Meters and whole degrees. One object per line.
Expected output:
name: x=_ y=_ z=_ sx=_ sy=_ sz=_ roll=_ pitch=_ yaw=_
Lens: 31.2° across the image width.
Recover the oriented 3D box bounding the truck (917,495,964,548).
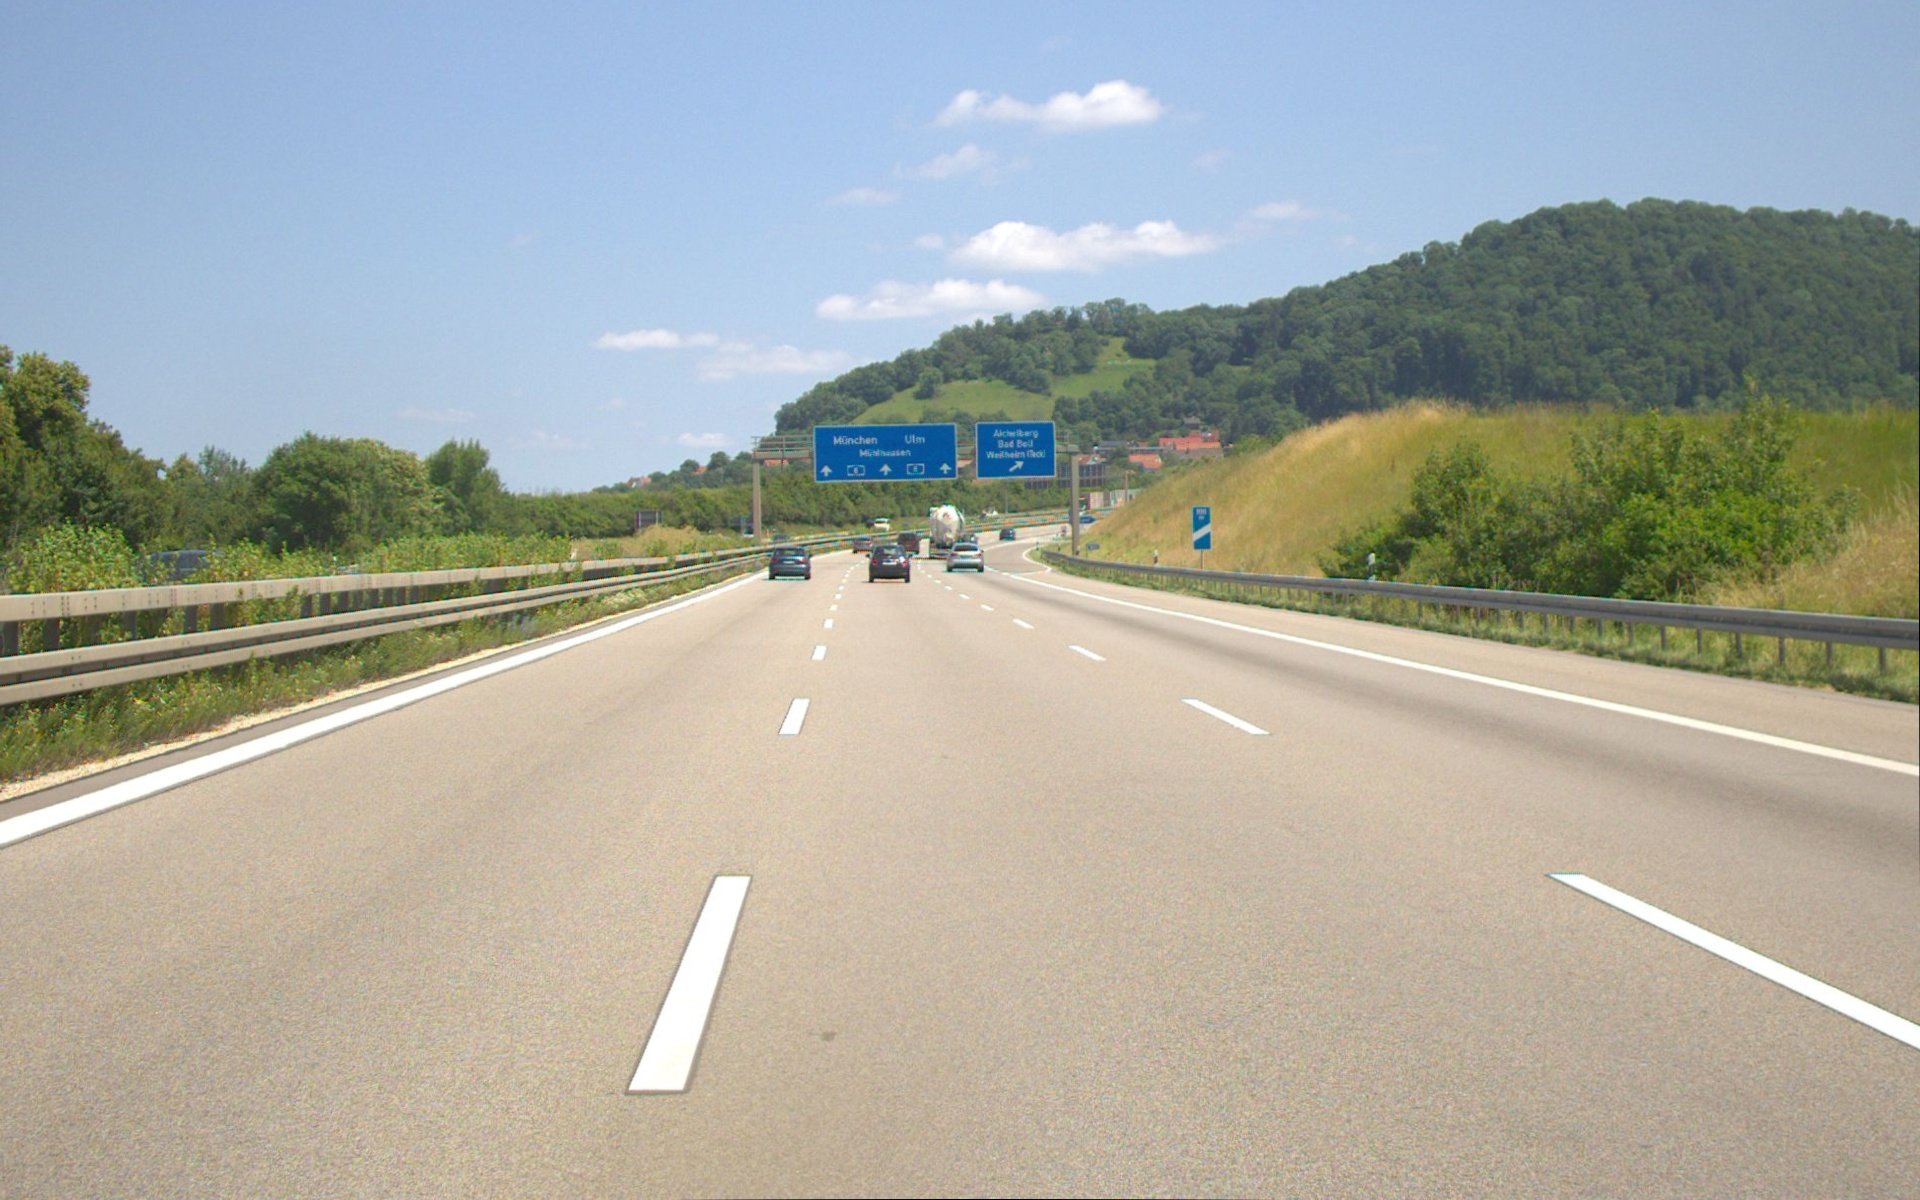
truck: x=-1.421 y=-5.649 z=249.283 sx=3.328 sy=3.677 sz=7.602 roll=0 pitch=0 yaw=-1

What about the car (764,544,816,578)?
car: x=-7.032 y=-1.617 z=142.422 sx=1.993 sy=1.384 sz=4.000 roll=0 pitch=0 yaw=-1

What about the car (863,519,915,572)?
car: x=-2.768 y=-2.127 z=134.898 sx=1.993 sy=2.007 sz=4.000 roll=0 pitch=0 yaw=-1

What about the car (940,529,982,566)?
car: x=0.051 y=-2.643 z=172.085 sx=1.993 sy=1.812 sz=4.000 roll=-1 pitch=1 yaw=-1
